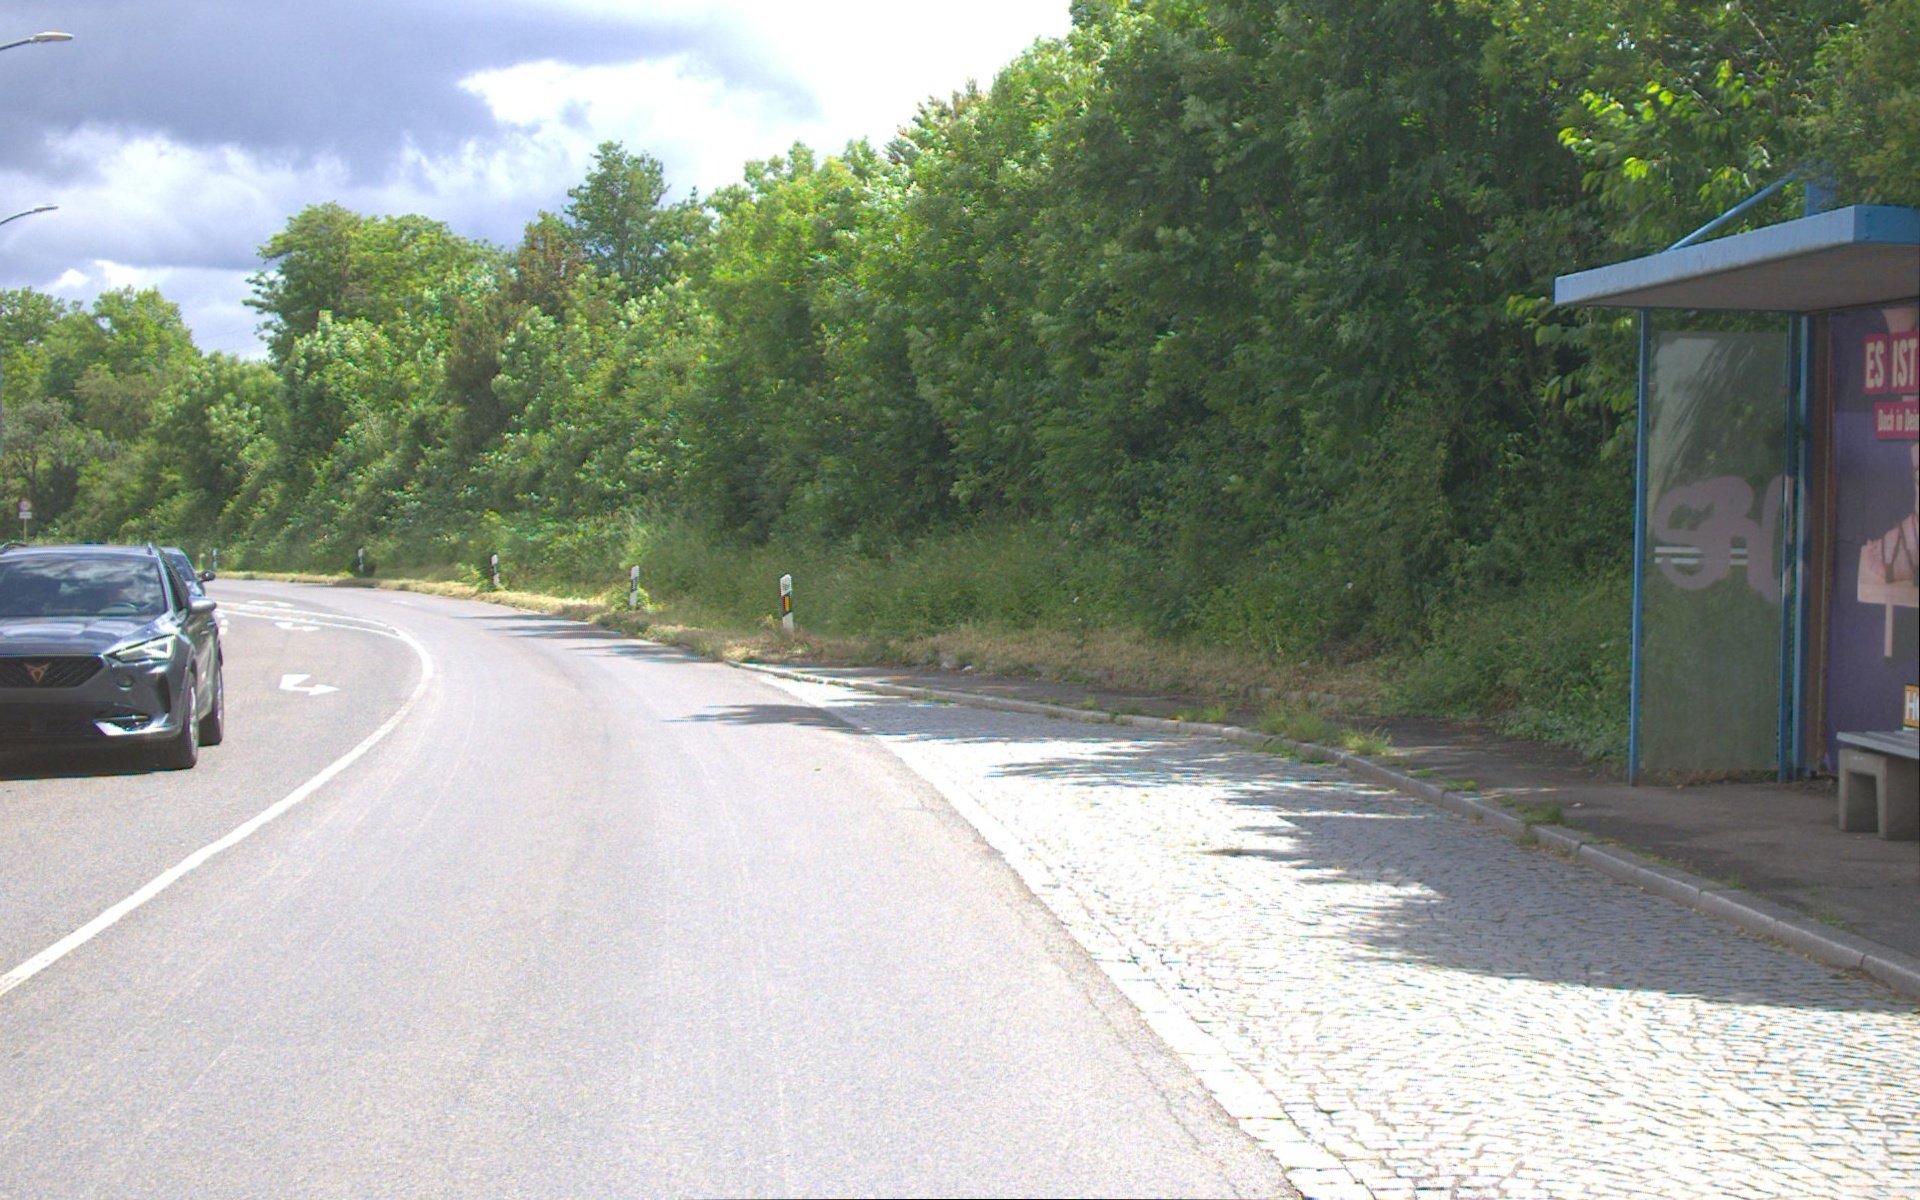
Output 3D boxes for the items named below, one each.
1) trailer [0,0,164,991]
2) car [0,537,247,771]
[{"bbox_3d":[-4.430,-0.735,5.608,2.771,4.130,15.352,1,1,0],"label":"trailer"},{"bbox_3d":[-6.062,0.310,23.771,1.839,1.458,4.254,-1,1,-7],"label":"car"}]
